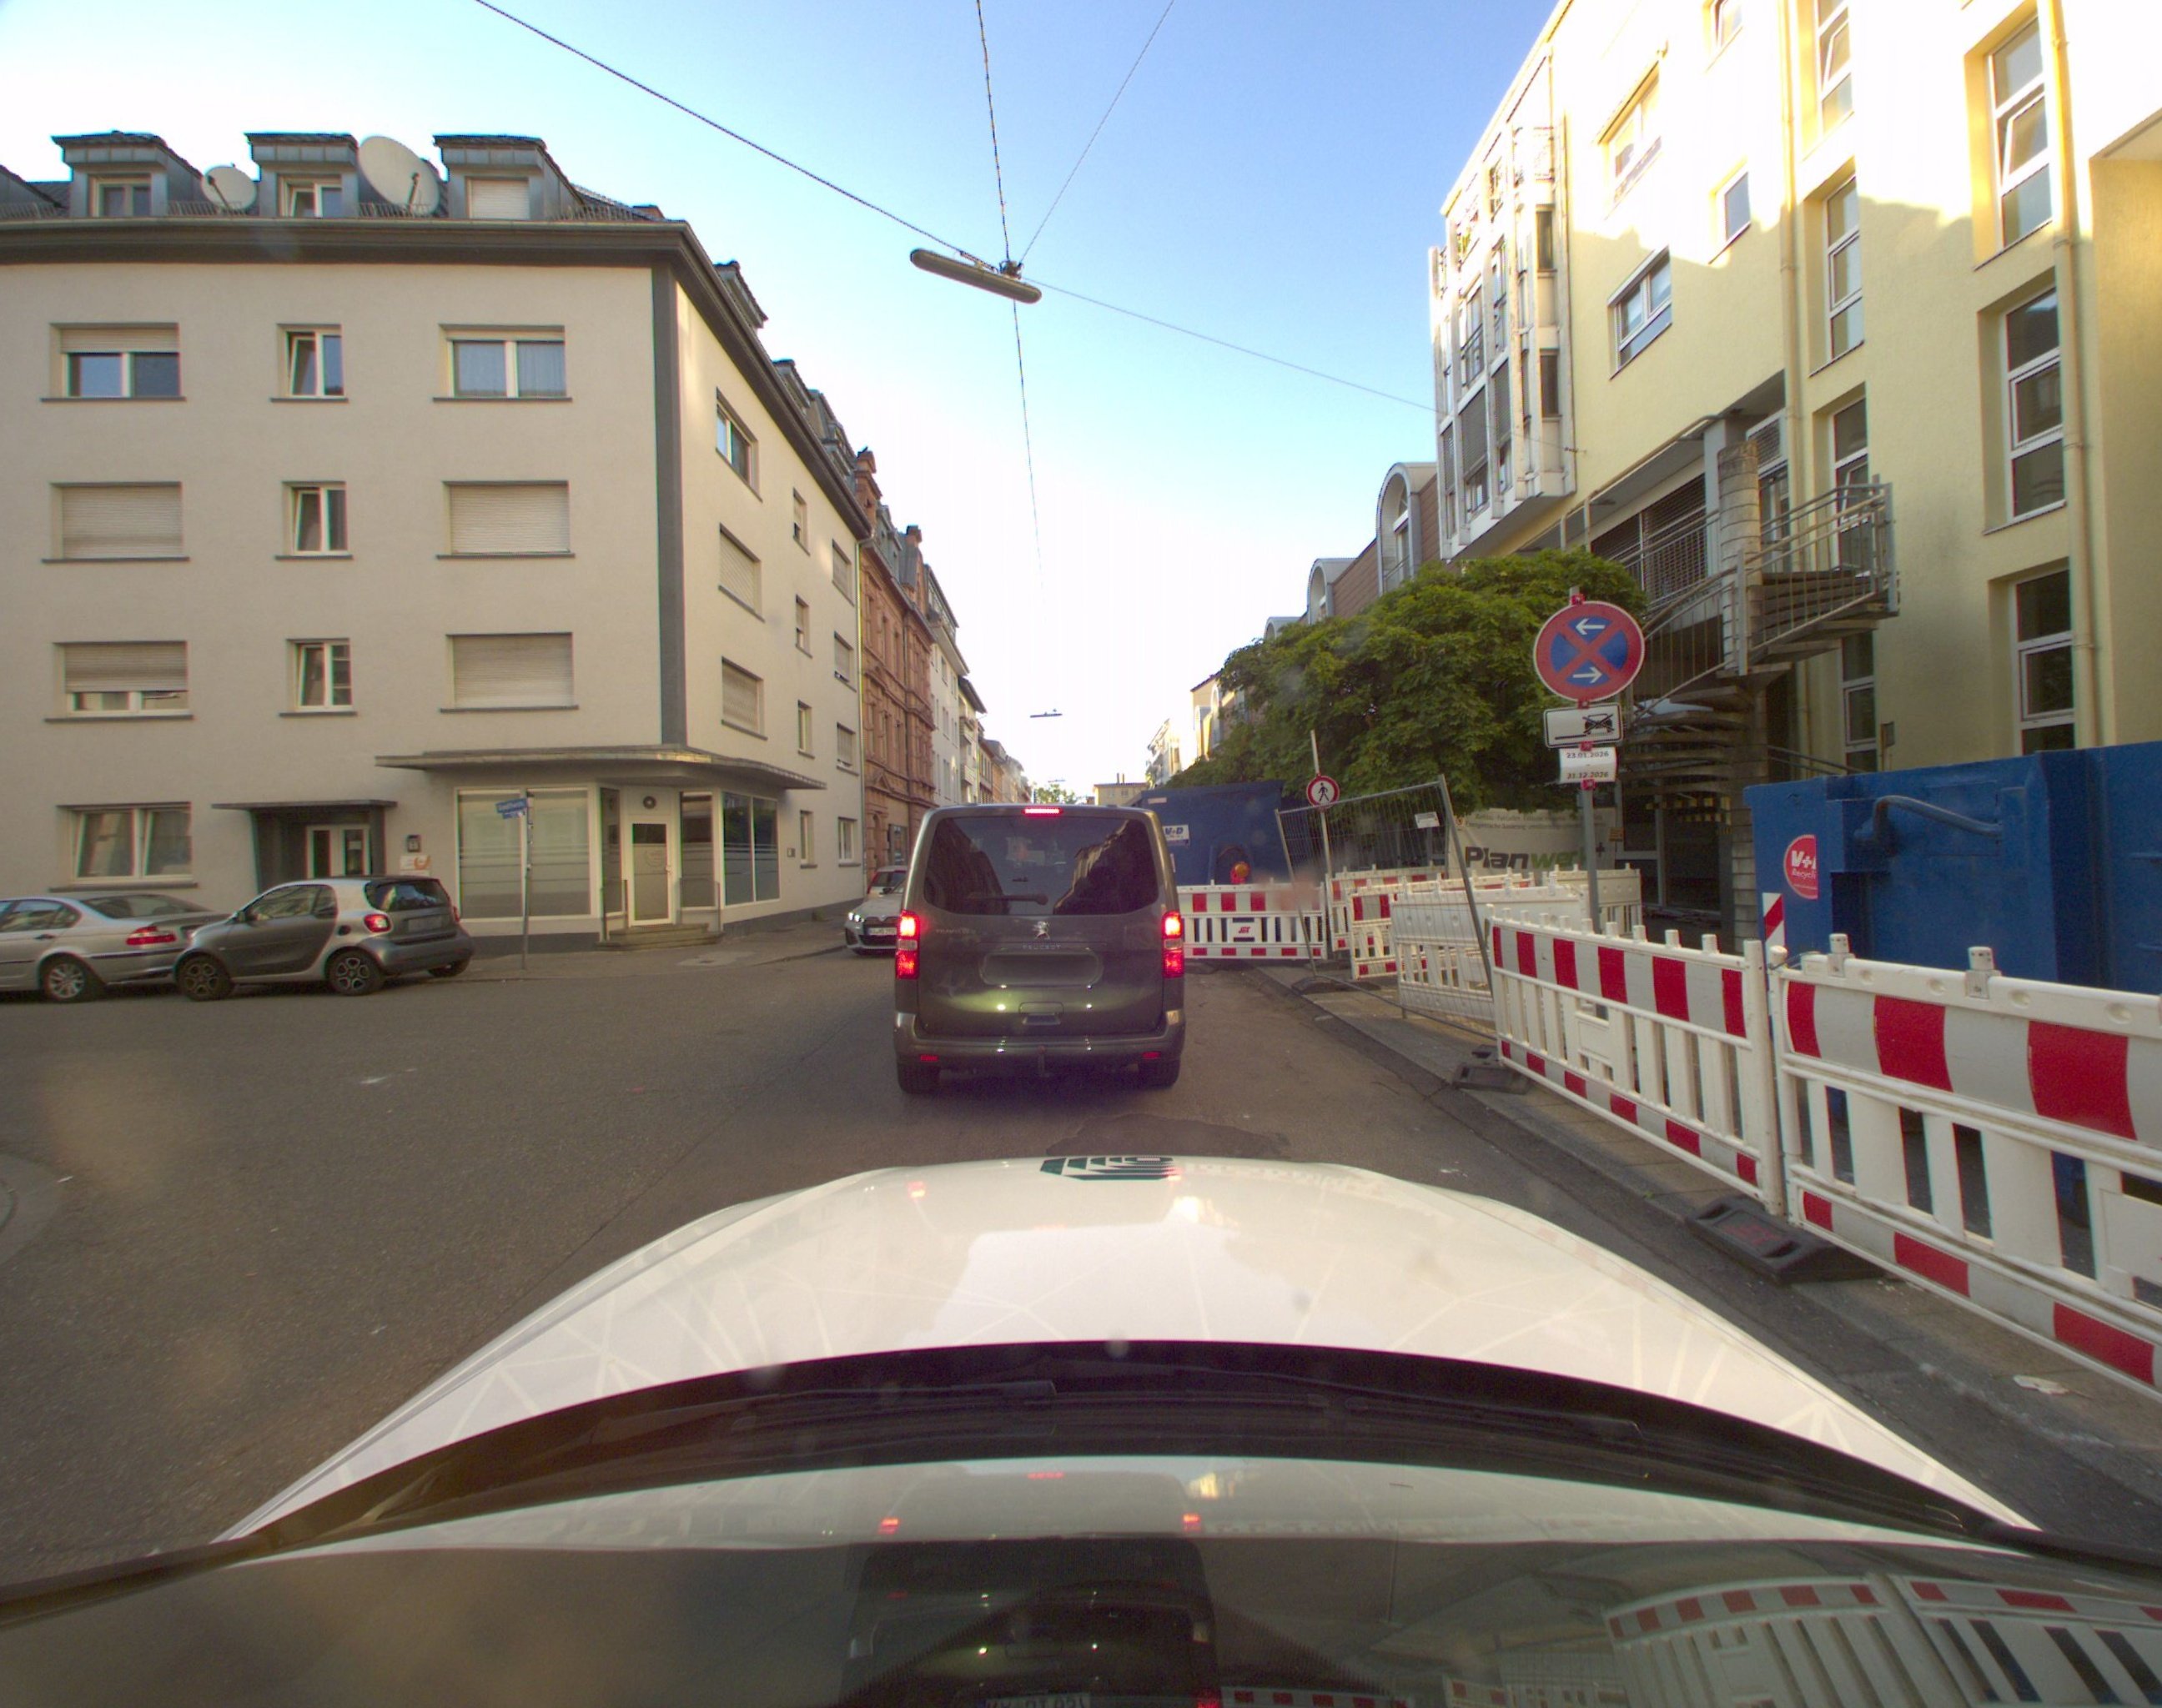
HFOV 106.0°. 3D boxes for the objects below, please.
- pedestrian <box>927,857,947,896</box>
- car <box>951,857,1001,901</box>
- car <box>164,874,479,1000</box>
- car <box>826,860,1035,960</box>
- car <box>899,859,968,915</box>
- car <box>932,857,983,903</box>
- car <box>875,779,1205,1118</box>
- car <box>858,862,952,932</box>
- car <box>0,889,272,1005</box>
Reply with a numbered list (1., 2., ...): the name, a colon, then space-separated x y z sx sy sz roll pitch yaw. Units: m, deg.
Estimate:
1. pedestrian: -6.253 0.976 35.396 0.739 1.664 0.702 -2 0 -5
2. car: -4.537 1.067 35.704 1.888 1.720 3.748 3 -1 -4
3. car: -10.240 1.069 11.149 2.778 1.540 1.593 0 0 -1
4. car: -2.493 0.894 14.962 1.914 1.451 4.829 -2 0 14
5. car: -4.445 0.977 24.968 1.653 1.525 3.412 3 -1 -4
6. car: -4.796 1.005 32.064 1.663 1.666 3.087 3 -1 -4
7. car: -0.367 0.552 6.778 1.862 1.886 4.228 -1 -1 -4
8. car: -4.146 0.973 19.648 1.653 1.460 3.412 3 -1 -4
9. car: -14.205 1.260 11.307 4.193 1.403 1.602 -1 0 -2
